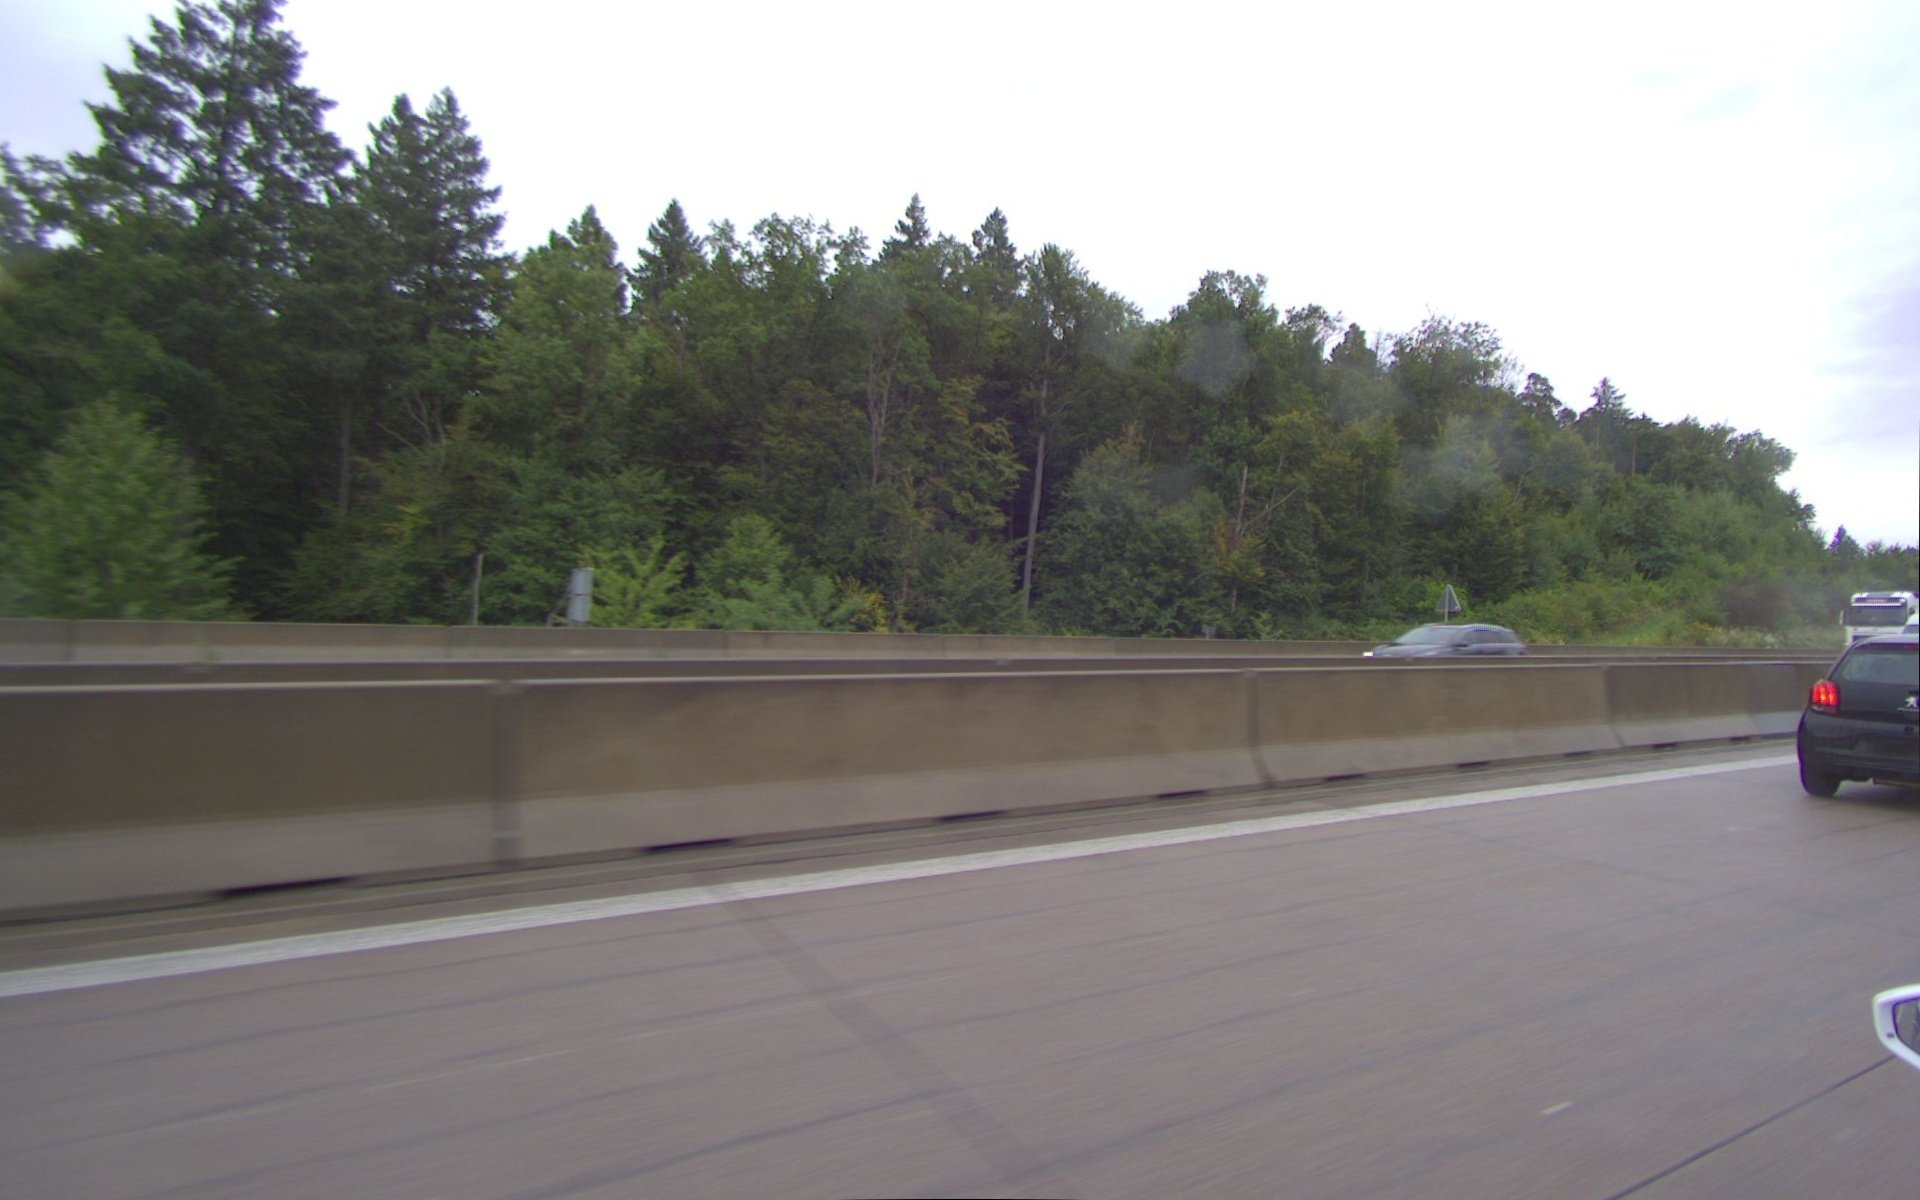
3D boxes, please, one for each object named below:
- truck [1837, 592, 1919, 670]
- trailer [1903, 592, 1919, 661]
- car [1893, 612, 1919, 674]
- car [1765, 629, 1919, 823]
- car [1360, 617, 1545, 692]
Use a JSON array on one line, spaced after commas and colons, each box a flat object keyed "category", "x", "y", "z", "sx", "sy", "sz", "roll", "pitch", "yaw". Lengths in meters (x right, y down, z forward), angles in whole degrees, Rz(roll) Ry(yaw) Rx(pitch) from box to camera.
[{"category": "truck", "x": 48.360, "y": 1.589, "z": 51.201, "sx": 10.373, "sy": 3.715, "sz": 2.551, "roll": 2, "pitch": -1, "yaw": -32}, {"category": "trailer", "x": 55.153, "y": 1.504, "z": 55.363, "sx": 8.137, "sy": 3.715, "sz": 2.532, "roll": 2, "pitch": -1, "yaw": -31}, {"category": "car", "x": 41.468, "y": 1.792, "z": 41.880, "sx": 6.668, "sy": 2.481, "sz": 1.983, "roll": 2, "pitch": -1, "yaw": -31}, {"category": "car", "x": 8.950, "y": 1.050, "z": 9.115, "sx": 3.649, "sy": 1.482, "sz": 1.672, "roll": 2, "pitch": 1, "yaw": -37}, {"category": "car", "x": 11.519, "y": 1.246, "z": 23.418, "sx": 4.588, "sy": 1.574, "sz": 1.600, "roll": 2, "pitch": 0, "yaw": -30}]
